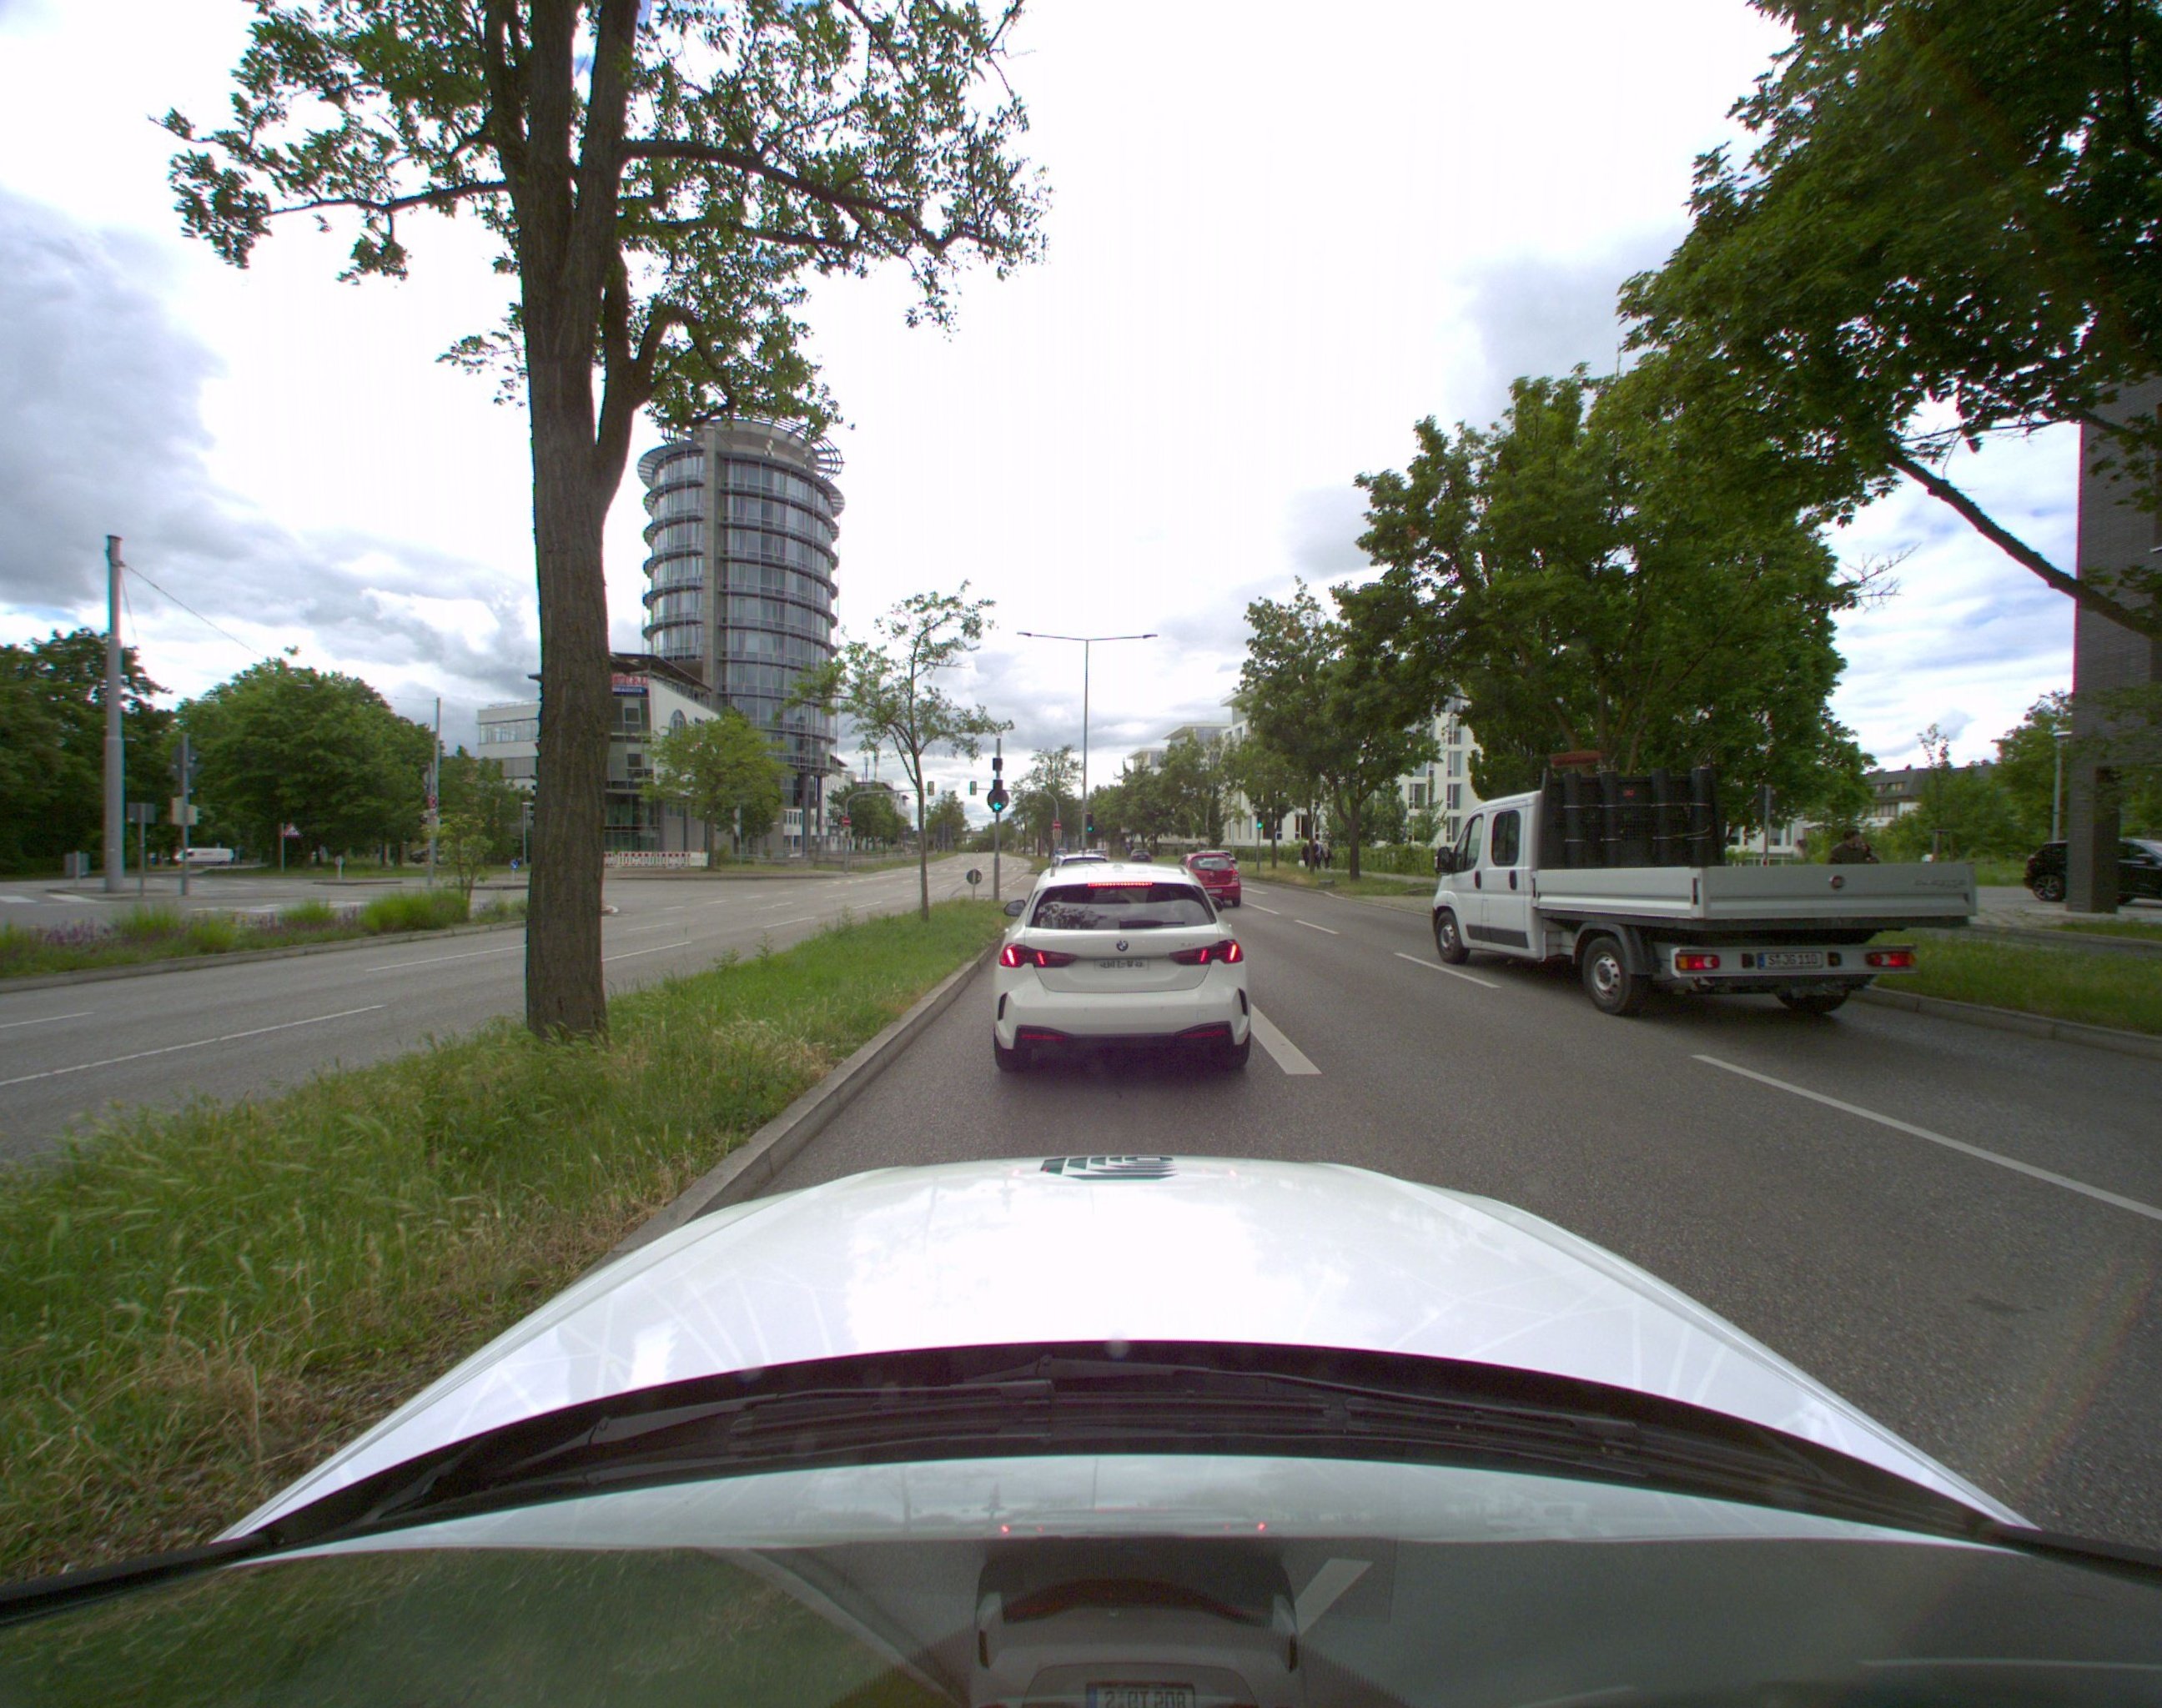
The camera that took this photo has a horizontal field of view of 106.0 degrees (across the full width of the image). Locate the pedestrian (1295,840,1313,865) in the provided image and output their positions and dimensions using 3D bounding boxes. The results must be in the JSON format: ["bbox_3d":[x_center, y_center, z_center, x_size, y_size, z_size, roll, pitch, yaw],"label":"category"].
[{"bbox_3d":[13.384,-0.075,48.926,0.786,1.448,1.112,0,-1,1],"label":"pedestrian"}]

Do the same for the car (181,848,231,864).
[{"bbox_3d":[-128.745,0.339,119.837,1.978,2.339,4.570,-1,-1,16],"label":"car"}]

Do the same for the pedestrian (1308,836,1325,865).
[{"bbox_3d":[12.924,-0.203,44.688,0.739,1.574,0.674,0,-1,1],"label":"pedestrian"}]

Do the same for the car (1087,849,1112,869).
[{"bbox_3d":[1.499,0.409,69.056,1.850,1.596,4.310,-1,0,-2],"label":"car"}]

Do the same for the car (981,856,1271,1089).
[{"bbox_3d":[0.349,0.746,7.104,1.815,1.438,4.002,0,0,2],"label":"car"}]

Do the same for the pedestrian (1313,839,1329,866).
[{"bbox_3d":[14.405,-0.083,48.842,0.697,1.595,0.883,0,-1,1],"label":"pedestrian"}]

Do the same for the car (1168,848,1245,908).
[{"bbox_3d":[3.560,0.637,23.751,1.710,1.558,3.859,-1,0,1],"label":"car"}]

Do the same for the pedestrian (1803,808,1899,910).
[{"bbox_3d":[14.592,0.097,15.474,0.953,1.868,0.982,0,0,12],"label":"pedestrian"}]

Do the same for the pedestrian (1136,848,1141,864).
[{"bbox_3d":[9.237,0.279,130.267,0.828,2.627,0.646,0,0,1],"label":"pedestrian"}]

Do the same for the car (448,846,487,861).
[{"bbox_3d":[-37.323,-0.030,49.571,0.766,0.876,1.730,0,0,39],"label":"car"}]

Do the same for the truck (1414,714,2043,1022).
[{"bbox_3d":[5.823,0.095,8.746,2.204,2.203,5.845,0,0,1],"label":"truck"}]

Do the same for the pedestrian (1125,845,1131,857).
[{"bbox_3d":[8.116,-0.558,141.171,0.763,2.014,0.751,0,-1,-13],"label":"pedestrian"}]

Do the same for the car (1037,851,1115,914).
[{"bbox_3d":[-0.222,0.716,22.329,1.549,1.569,3.987,0,0,-9],"label":"car"}]

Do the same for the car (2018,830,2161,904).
[{"bbox_3d":[24.903,0.296,18.856,1.749,1.646,4.151,0,0,2],"label":"car"}]

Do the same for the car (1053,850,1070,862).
[{"bbox_3d":[-2.679,0.326,110.521,1.889,1.596,4.304,0,0,-6],"label":"car"}]

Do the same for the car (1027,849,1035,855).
[{"bbox_3d":[-13.972,-0.632,225.919,1.992,1.670,3.990,-2,0,-7],"label":"car"}]

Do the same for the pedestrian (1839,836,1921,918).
[{"bbox_3d":[15.653,0.441,15.979,0.826,1.557,0.879,0,0,14],"label":"pedestrian"}]

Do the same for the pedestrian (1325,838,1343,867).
[{"bbox_3d":[15.175,-0.089,48.883,0.764,1.685,0.883,0,-1,1],"label":"pedestrian"}]

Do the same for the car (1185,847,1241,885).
[{"bbox_3d":[5.737,0.482,35.754,1.711,1.555,4.087,-1,0,-1],"label":"car"}]

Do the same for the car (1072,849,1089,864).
[{"bbox_3d":[-0.073,0.240,83.446,1.601,1.468,3.672,0,0,-3],"label":"car"}]

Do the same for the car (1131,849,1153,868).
[{"bbox_3d":[5.278,0.410,70.881,1.652,1.512,3.998,0,-1,-1],"label":"car"}]

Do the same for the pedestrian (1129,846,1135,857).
[{"bbox_3d":[8.737,-0.415,139.318,0.849,2.013,0.603,0,0,-14],"label":"pedestrian"}]
